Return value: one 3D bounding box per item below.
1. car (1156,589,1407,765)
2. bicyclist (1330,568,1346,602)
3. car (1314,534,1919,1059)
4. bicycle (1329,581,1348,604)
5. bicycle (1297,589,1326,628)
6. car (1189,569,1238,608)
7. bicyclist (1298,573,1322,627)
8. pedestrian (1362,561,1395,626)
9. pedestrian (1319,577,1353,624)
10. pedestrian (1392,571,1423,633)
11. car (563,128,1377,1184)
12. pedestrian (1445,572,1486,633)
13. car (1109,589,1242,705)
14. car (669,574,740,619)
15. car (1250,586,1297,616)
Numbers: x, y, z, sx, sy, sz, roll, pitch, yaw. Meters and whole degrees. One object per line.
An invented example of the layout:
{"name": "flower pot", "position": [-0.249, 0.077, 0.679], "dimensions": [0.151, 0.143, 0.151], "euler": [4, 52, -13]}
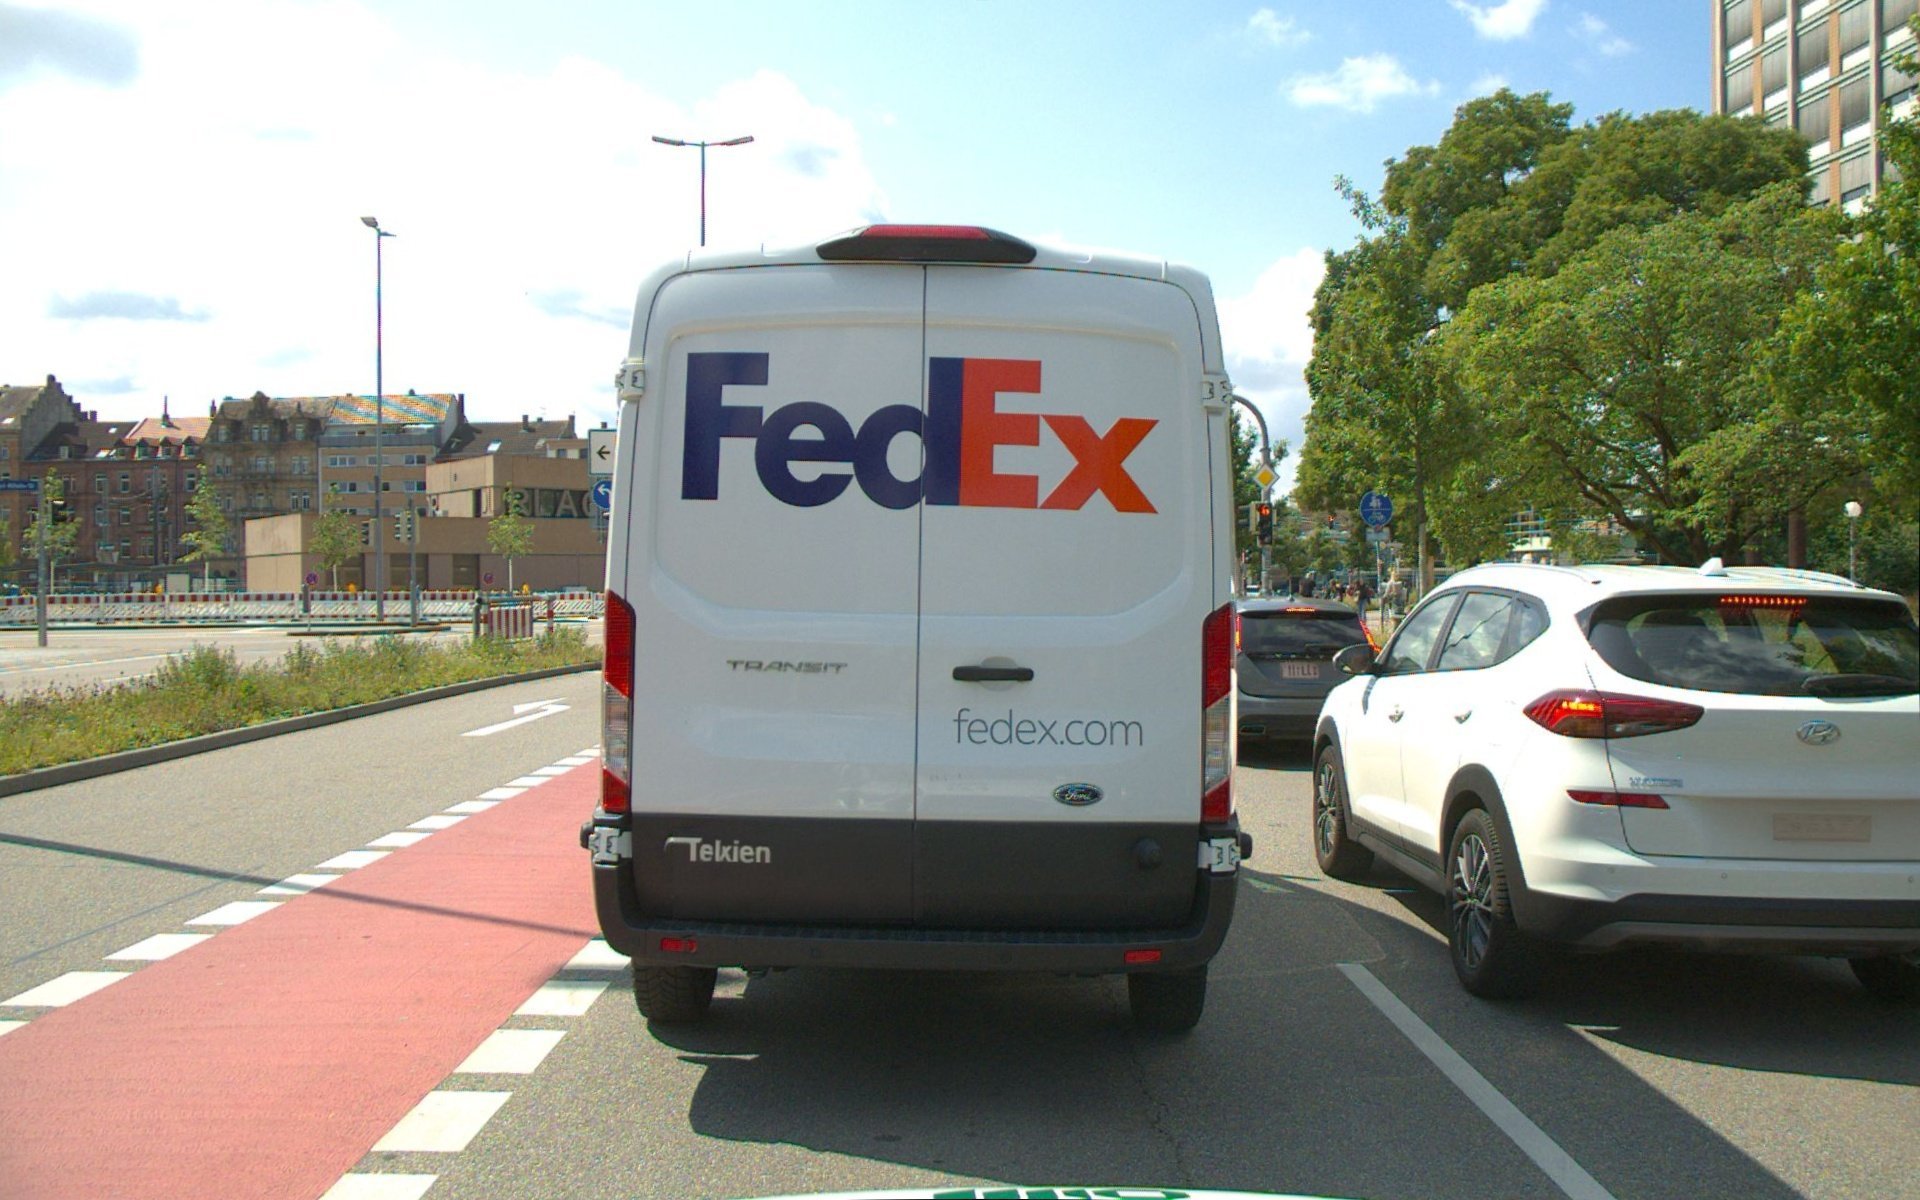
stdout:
{"name": "car", "position": [2.982, 0.645, 16.079], "dimensions": [1.760, 1.486, 3.839], "euler": [0, 1, 1]}
{"name": "bicyclist", "position": [17.043, -0.689, 74.628], "dimensions": [0.538, 1.500, 0.971], "euler": [0, 0, 2]}
{"name": "car", "position": [2.857, 0.620, 7.406], "dimensions": [1.760, 1.717, 4.001], "euler": [0, 1, 1]}
{"name": "bicycle", "position": [17.041, -0.353, 74.581], "dimensions": [0.534, 1.048, 1.928], "euler": [0, 1, 4]}
{"name": "bicycle", "position": [12.383, 0.283, 58.244], "dimensions": [0.590, 1.312, 2.070], "euler": [0, 1, 23]}
{"name": "car", "position": [13.909, -0.610, 90.518], "dimensions": [2.048, 2.049, 4.647], "euler": [0, 0, 16]}
{"name": "bicyclist", "position": [12.278, -0.014, 58.010], "dimensions": [0.579, 1.877, 1.122], "euler": [0, 1, 24]}
{"name": "pedestrian", "position": [13.818, -0.219, 54.591], "dimensions": [0.830, 2.094, 0.738], "euler": [0, 0, -13]}
{"name": "pedestrian", "position": [11.350, 0.013, 49.941], "dimensions": [0.827, 1.413, 0.741], "euler": [0, 0, -1]}
{"name": "pedestrian", "position": [15.039, 0.065, 55.583], "dimensions": [0.827, 2.049, 0.741], "euler": [0, 0, -1]}
{"name": "car", "position": [-0.096, 0.135, 7.133], "dimensions": [2.098, 2.699, 5.701], "euler": [0, 0, -3]}
{"name": "pedestrian", "position": [13.185, 0.067, 43.157], "dimensions": [0.827, 1.565, 0.835], "euler": [0, 0, -1]}
{"name": "car", "position": [2.902, 0.588, 22.814], "dimensions": [1.454, 1.453, 3.433], "euler": [0, 1, 1]}
{"name": "car", "position": [-12.034, -0.166, 78.240], "dimensions": [1.951, 2.049, 4.003], "euler": [0, 0, 13]}
{"name": "car", "position": [19.713, 0.066, 103.813], "dimensions": [1.953, 1.825, 4.369], "euler": [-1, 0, 24]}
